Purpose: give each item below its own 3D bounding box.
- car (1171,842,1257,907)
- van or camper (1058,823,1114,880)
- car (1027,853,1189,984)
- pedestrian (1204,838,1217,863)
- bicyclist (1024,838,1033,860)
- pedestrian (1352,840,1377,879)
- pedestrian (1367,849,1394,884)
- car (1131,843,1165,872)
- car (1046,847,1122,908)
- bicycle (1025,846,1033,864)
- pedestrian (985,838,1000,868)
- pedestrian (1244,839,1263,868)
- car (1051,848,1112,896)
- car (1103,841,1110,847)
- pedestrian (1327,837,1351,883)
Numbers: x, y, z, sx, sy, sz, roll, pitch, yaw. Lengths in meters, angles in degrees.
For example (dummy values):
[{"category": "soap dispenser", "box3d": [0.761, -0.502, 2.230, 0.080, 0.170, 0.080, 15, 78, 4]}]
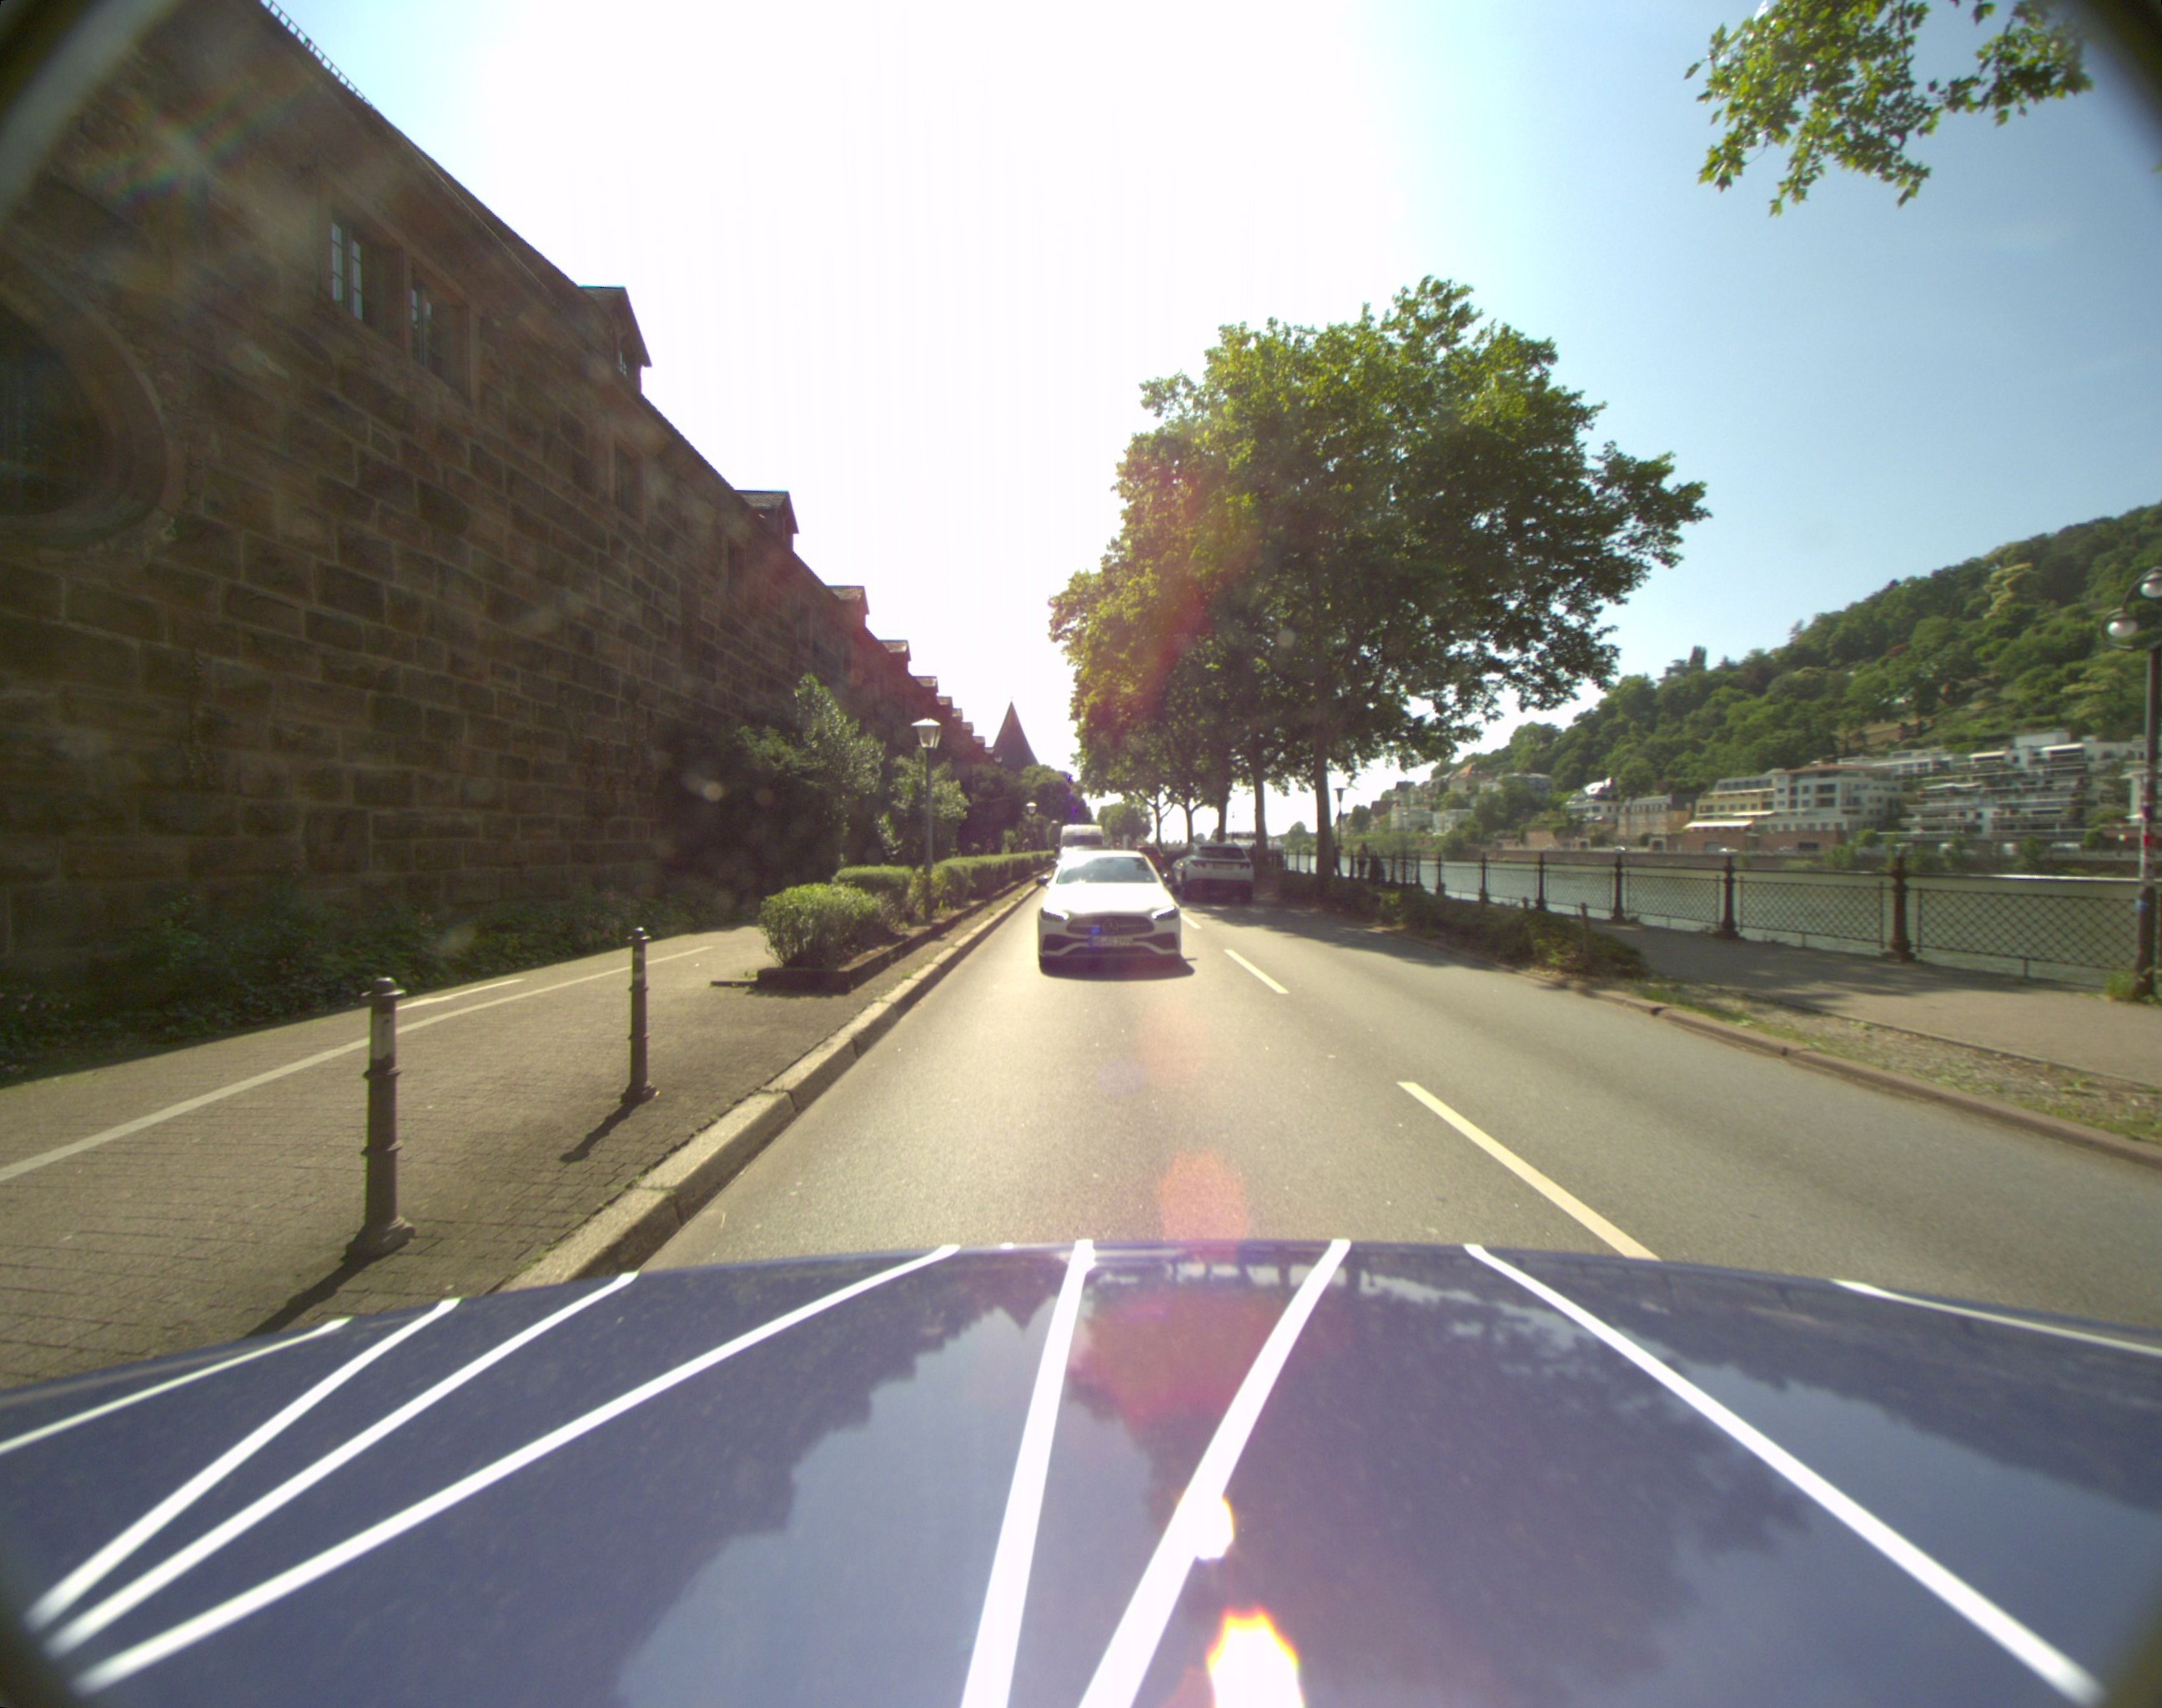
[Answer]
[{"category": "car", "box3d": [3.717, 0.498, 21.834, 1.773, 1.651, 3.999, 2, 1, 1]}, {"category": "van or camper", "box3d": [0.212, -0.156, 34.964, 2.313, 2.358, 5.034, 2, 1, 0]}, {"category": "car", "box3d": [0.340, 0.742, 10.869, 1.833, 1.395, 4.269, -1, 1, 1]}, {"category": "pedestrian", "box3d": [9.755, -0.290, 57.292, 0.806, 1.839, 0.929, -2, 2, 1]}, {"category": "bicyclist", "box3d": [-3.647, -0.327, 53.107, 0.550, 1.514, 0.583, -2, 2, -1]}, {"category": "pedestrian", "box3d": [13.012, 0.263, 34.861, 0.777, 1.748, 0.830, 2, 1, 0]}, {"category": "pedestrian", "box3d": [12.221, 0.505, 31.018, 0.768, 1.379, 0.770, 1, 1, 0]}, {"category": "car", "box3d": [4.134, 0.155, 47.442, 1.677, 1.650, 4.222, 3, 1, 0]}, {"category": "car", "box3d": [0.112, 0.547, 20.800, 1.833, 1.428, 4.269, -1, 1, 1]}, {"category": "bicycle", "box3d": [-3.628, 0.069, 53.028, 0.406, 1.169, 1.576, -2, 2, -2]}, {"category": "pedestrian", "box3d": [-4.704, -0.069, 40.428, 0.643, 1.555, 0.563, -2, 2, 1]}, {"category": "pedestrian", "box3d": [12.123, -0.027, 53.383, 1.047, 2.002, 1.036, 0, 2, 31]}, {"category": "car", "box3d": [0.054, 0.534, 25.482, 1.833, 1.395, 4.423, -1, 1, 1]}, {"category": "car", "box3d": [8.216, -3.234, 248.382, 2.165, 2.002, 3.999, -2, 2, 1]}, {"category": "pedestrian", "box3d": [10.870, 0.245, 32.068, 0.767, 1.890, 0.771, 1, 1, 8]}]
